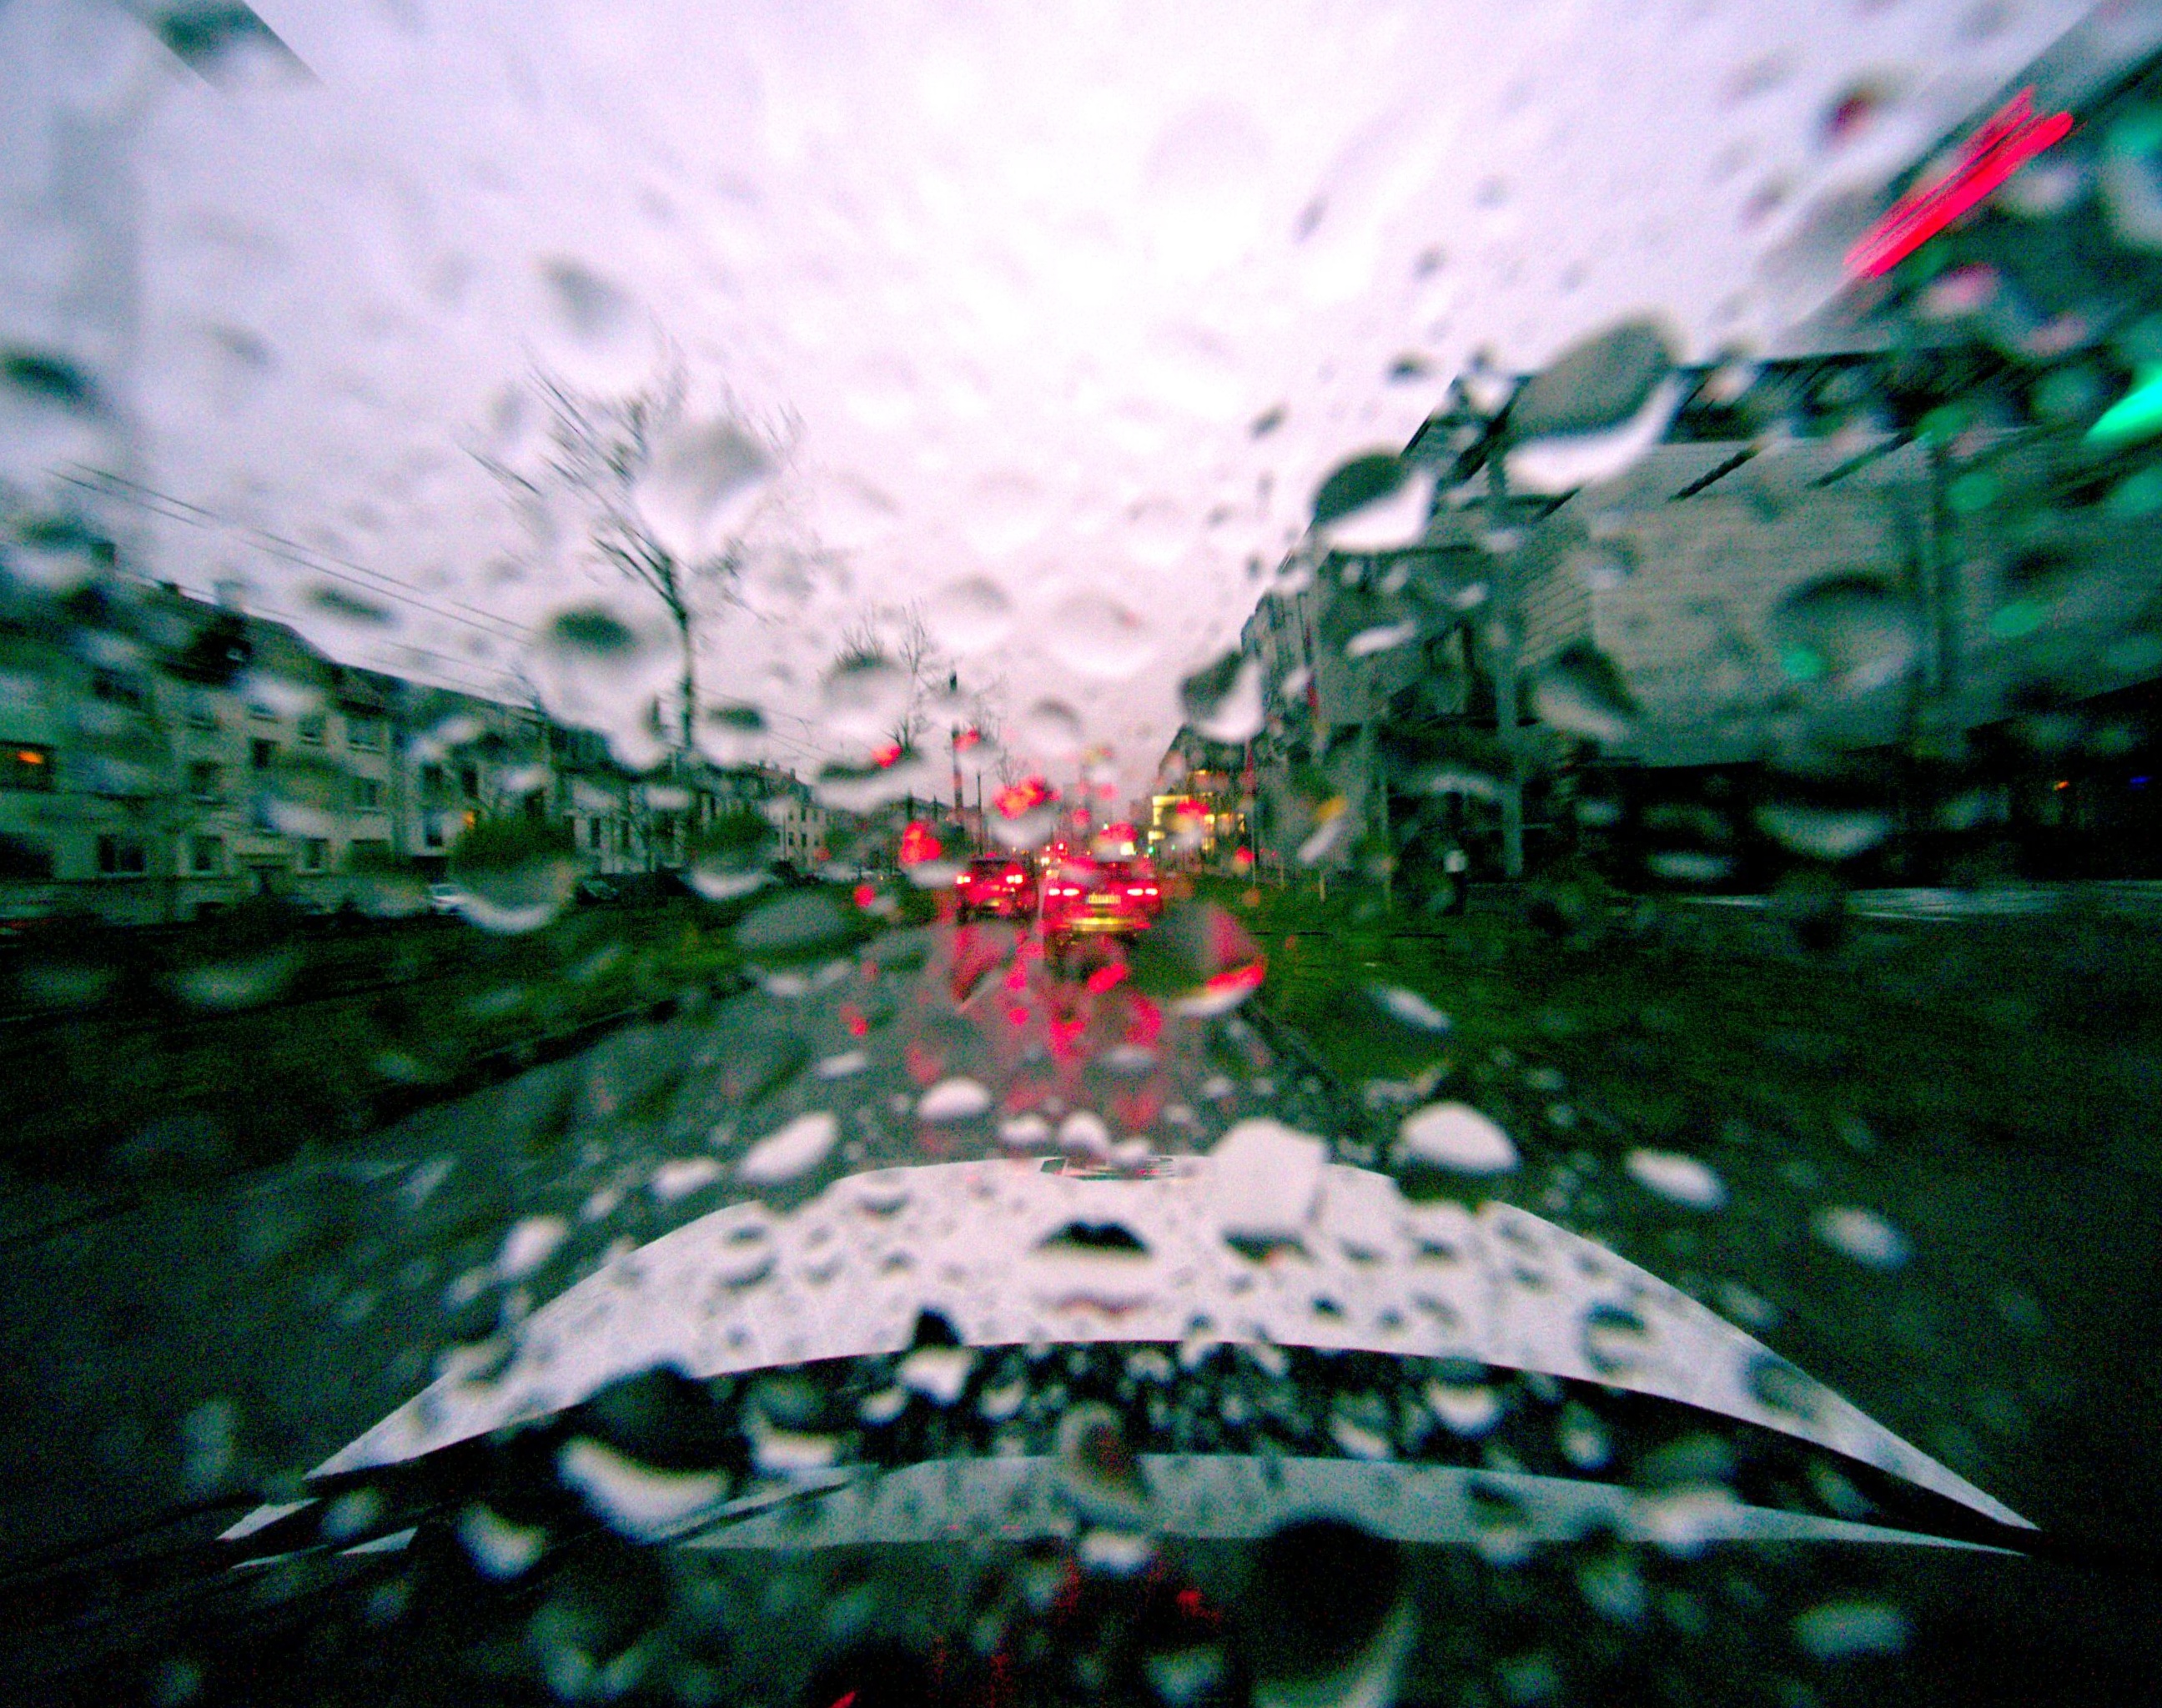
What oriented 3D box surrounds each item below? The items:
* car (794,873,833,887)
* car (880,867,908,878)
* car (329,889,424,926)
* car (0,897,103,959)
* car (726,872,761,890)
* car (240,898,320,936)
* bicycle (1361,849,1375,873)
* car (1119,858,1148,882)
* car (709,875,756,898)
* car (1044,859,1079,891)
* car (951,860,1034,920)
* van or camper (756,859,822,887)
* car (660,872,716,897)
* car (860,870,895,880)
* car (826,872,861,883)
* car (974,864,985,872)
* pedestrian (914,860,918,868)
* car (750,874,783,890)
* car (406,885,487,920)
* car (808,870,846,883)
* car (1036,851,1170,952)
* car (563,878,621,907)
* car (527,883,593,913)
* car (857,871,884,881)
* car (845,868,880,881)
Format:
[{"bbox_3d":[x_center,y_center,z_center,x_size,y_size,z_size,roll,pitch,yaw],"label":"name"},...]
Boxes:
[{"bbox_3d":[-25.940,2.497,78.929,3.495,1.212,1.759,0,-1,33],"label":"car"},{"bbox_3d":[-24.432,2.441,106.234,3.719,1.337,1.462,-2,0,37],"label":"car"},{"bbox_3d":[-26.403,1.972,30.517,3.772,1.172,1.749,0,0,34],"label":"car"},{"bbox_3d":[-27.027,1.863,21.156,3.534,1.309,1.697,0,0,34],"label":"car"},{"bbox_3d":[-26.678,2.121,64.342,3.058,1.302,1.397,-1,-1,43],"label":"car"},{"bbox_3d":[-26.857,2.090,27.308,2.361,1.048,1.446,0,1,34],"label":"car"},{"bbox_3d":[15.563,0.385,44.183,0.406,1.284,1.755,-1,-1,29],"label":"bicycle"},{"bbox_3d":[3.506,1.039,54.058,1.858,1.543,3.615,0,0,4],"label":"car"},{"bbox_3d":[-25.652,2.347,59.855,3.801,1.588,1.752,-1,-1,43],"label":"car"},{"bbox_3d":[-1.003,1.090,43.739,1.683,1.635,3.474,0,0,1],"label":"car"},{"bbox_3d":[-2.283,0.898,21.907,1.812,1.450,3.999,0,0,0],"label":"car"},{"bbox_3d":[-26.344,1.658,73.290,6.792,2.360,2.013,0,-1,35],"label":"van or camper"},{"bbox_3d":[-25.810,1.967,53.463,4.109,1.541,1.680,0,-1,38],"label":"car"},{"bbox_3d":[-24.658,2.562,98.622,4.135,1.116,1.692,0,-1,32],"label":"car"},{"bbox_3d":[-24.976,2.438,85.520,3.374,1.147,1.702,0,-1,33],"label":"car"},{"bbox_3d":[-20.256,2.843,162.733,1.608,1.623,3.510,0,0,2],"label":"car"},{"bbox_3d":[-25.835,1.546,127.526,0.348,1.184,0.429,0,-1,-39],"label":"pedestrian"},{"bbox_3d":[-25.768,2.262,66.679,2.852,1.204,1.397,-1,-1,43],"label":"car"},{"bbox_3d":[-26.241,1.971,33.653,3.794,1.245,1.748,0,0,37],"label":"car"},{"bbox_3d":[-25.590,2.278,82.114,3.495,1.200,1.894,0,-1,33],"label":"car"},{"bbox_3d":[0.374,0.727,13.886,1.986,1.483,3.701,0,-1,1],"label":"car"},{"bbox_3d":[-26.264,2.055,43.730,3.342,1.422,1.680,-1,-1,40],"label":"car"},{"bbox_3d":[-26.102,2.188,40.777,2.899,1.336,1.749,0,0,34],"label":"car"},{"bbox_3d":[-24.755,2.558,95.690,3.006,1.147,1.406,0,-1,32],"label":"car"},{"bbox_3d":[-24.882,2.281,92.615,4.071,1.378,1.784,0,-1,38],"label":"car"}]
